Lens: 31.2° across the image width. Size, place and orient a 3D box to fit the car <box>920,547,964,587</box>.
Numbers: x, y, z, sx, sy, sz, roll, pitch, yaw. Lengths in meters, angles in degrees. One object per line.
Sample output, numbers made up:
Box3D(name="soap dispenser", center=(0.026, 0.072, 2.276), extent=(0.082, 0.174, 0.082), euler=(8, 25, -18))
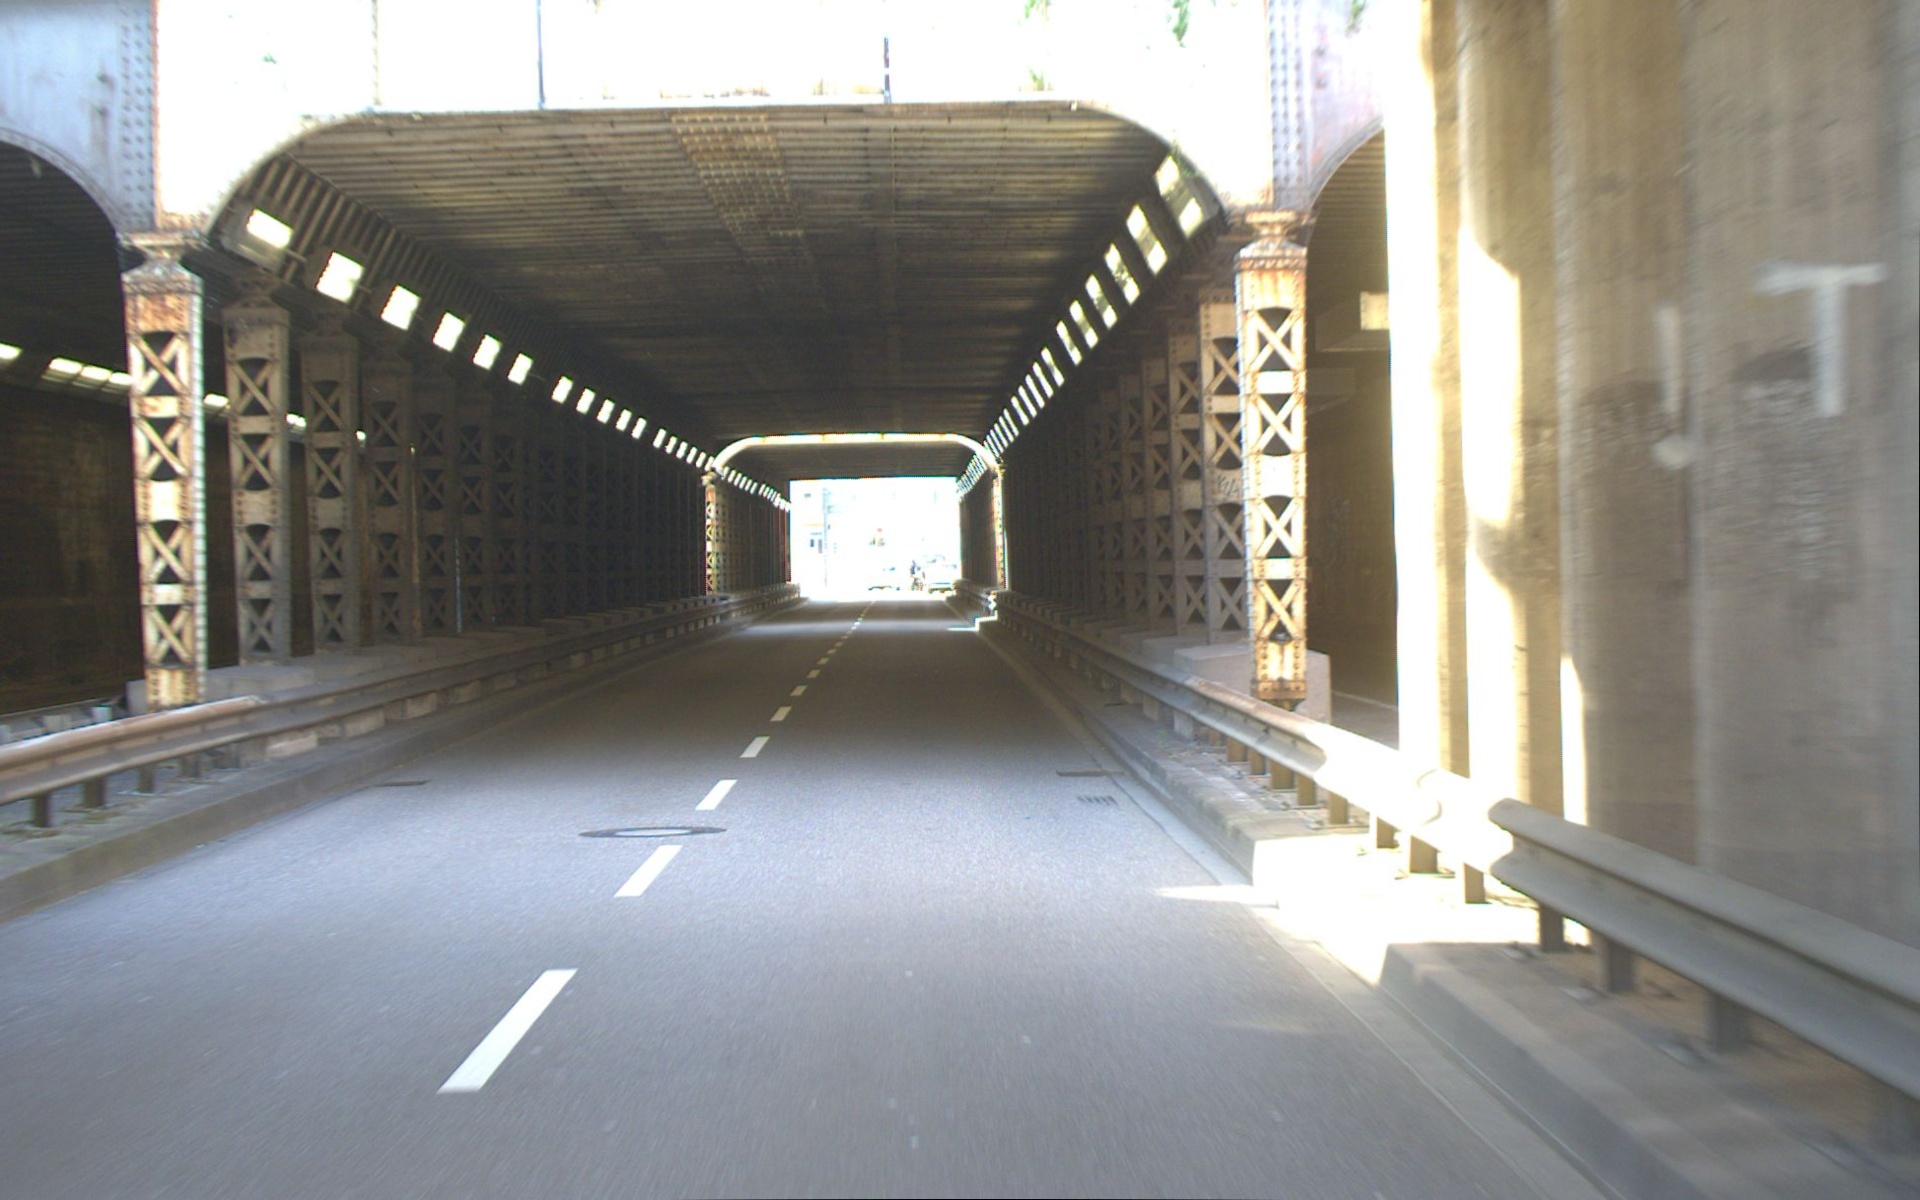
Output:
Box3D(name="car", center=(-0.881, -1.578, 162.459), extent=(1.993, 1.778, 4.000), euler=(-2, 1, -1))

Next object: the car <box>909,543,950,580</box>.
Box3D(name="car", center=(-1.529, -1.938, 171.726), extent=(1.993, 1.778, 4.000), euler=(-2, 1, -1))

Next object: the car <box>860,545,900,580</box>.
Box3D(name="car", center=(-4.147, -1.944, 178.336), extent=(1.993, 1.778, 4.000), euler=(-2, 1, -1))
